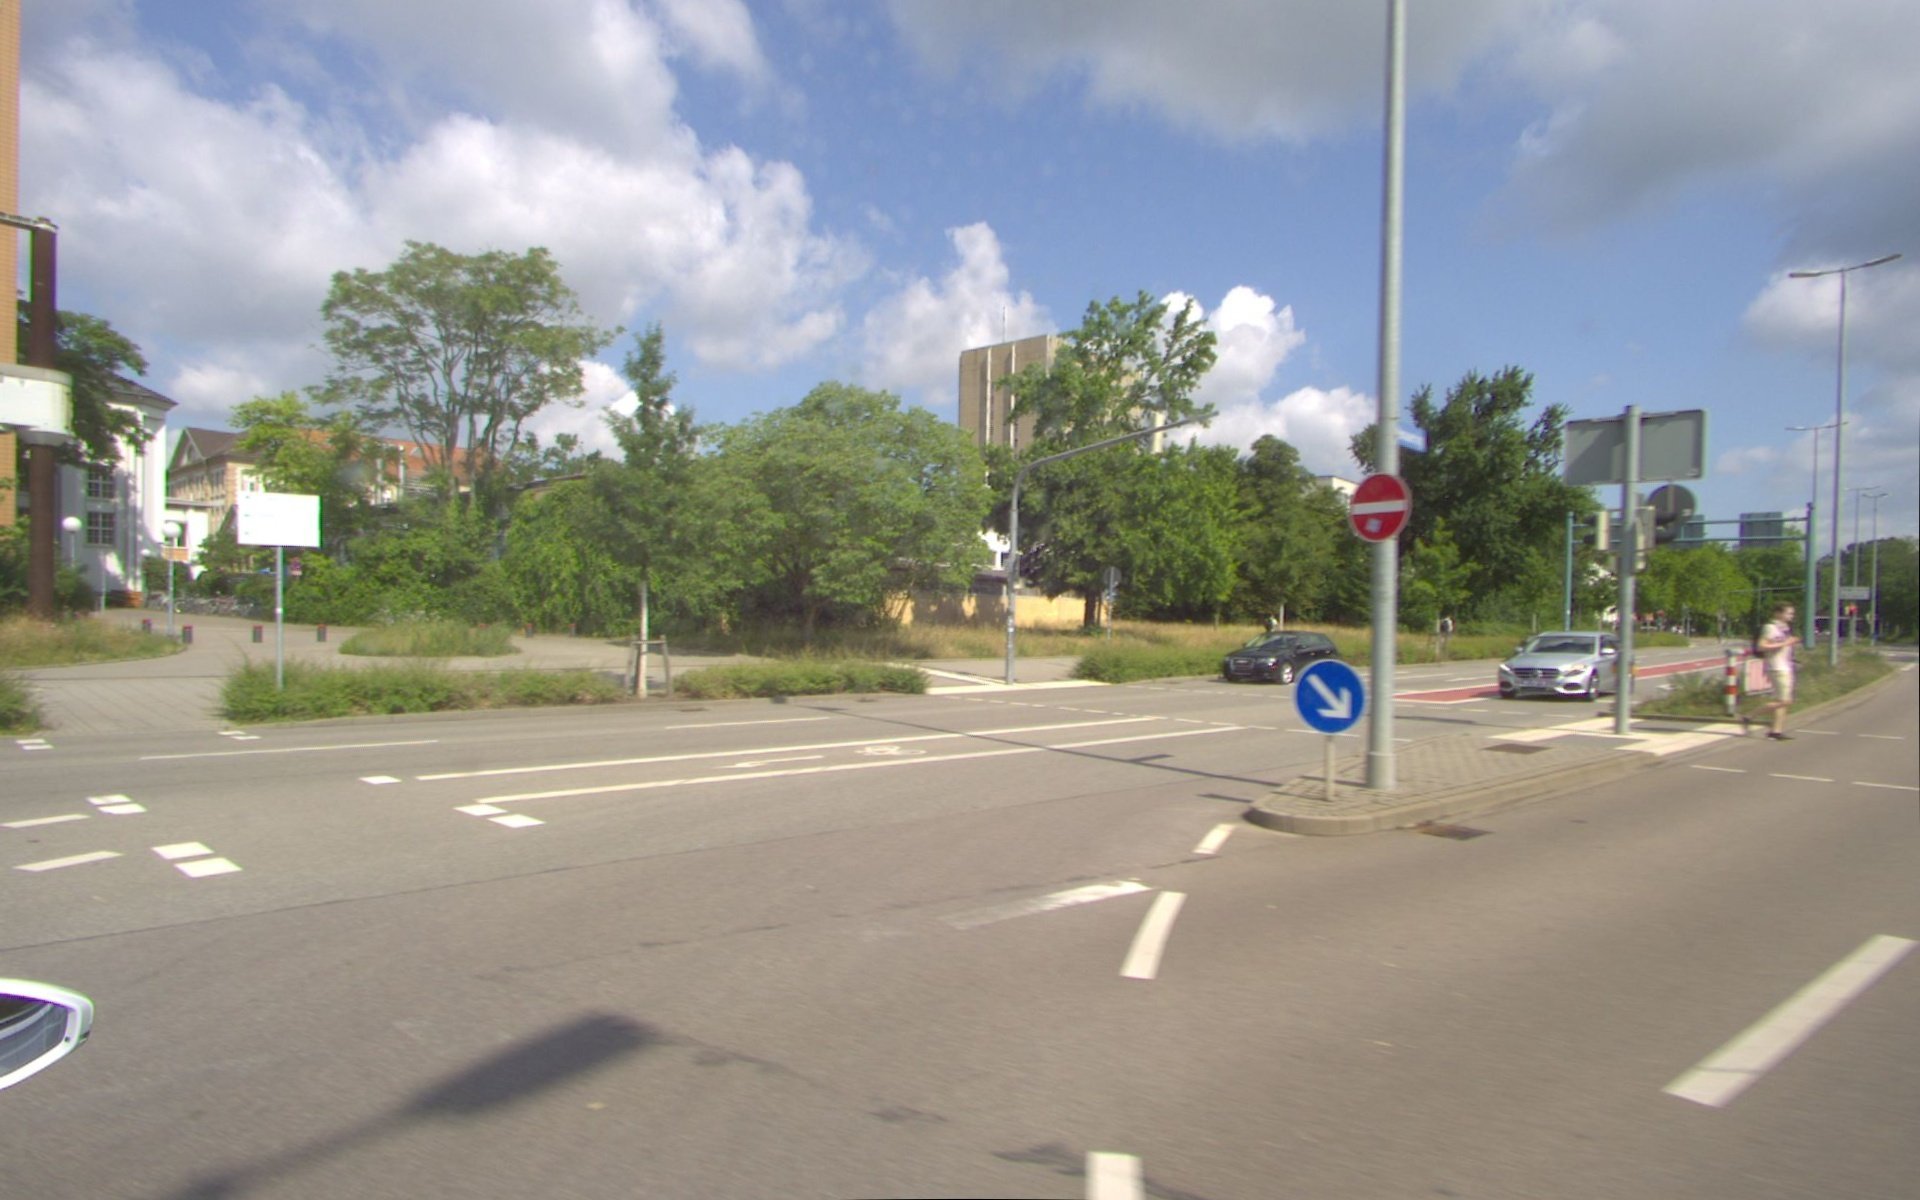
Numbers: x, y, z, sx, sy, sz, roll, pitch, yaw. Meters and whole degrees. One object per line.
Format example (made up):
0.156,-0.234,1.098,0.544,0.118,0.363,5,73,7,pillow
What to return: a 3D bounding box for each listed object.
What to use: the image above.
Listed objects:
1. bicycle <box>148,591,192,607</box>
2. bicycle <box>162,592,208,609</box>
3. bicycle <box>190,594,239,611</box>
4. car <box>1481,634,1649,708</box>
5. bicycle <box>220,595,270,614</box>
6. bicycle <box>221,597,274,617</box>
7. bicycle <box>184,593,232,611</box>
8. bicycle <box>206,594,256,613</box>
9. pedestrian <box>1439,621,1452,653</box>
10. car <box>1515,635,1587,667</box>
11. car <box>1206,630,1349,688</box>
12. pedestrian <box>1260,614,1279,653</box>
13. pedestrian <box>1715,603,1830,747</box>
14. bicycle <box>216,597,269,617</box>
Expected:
-48.990,-0.048,62.128,0.795,0.949,2.045,1,0,41,bicycle
-45.506,0.031,58.818,0.795,0.949,2.045,1,0,41,bicycle
-41.693,0.142,56.015,0.795,0.949,2.045,1,0,41,bicycle
13.608,1.492,22.387,4.733,1.460,2.043,2,-2,-43,car
-37.934,0.249,53.131,0.795,0.949,2.045,1,0,41,bicycle
-35.377,0.339,49.734,0.795,0.949,2.045,1,0,41,bicycle
-42.518,0.118,56.618,0.795,0.949,2.045,1,0,41,bicycle
-39.130,0.207,53.784,0.795,0.949,2.045,1,0,41,bicycle
27.956,2.134,57.666,0.535,1.791,0.521,2,-1,39,pedestrian
26.610,2.269,45.062,3.961,1.289,1.780,1,0,-44,car
8.801,1.565,27.615,4.120,1.395,1.980,2,1,-43,car
13.163,1.426,42.597,0.535,1.628,0.521,2,-1,39,pedestrian
11.119,0.999,13.747,1.165,1.881,0.695,1,-2,37,pedestrian
-36.443,0.353,50.878,0.795,0.949,2.045,1,0,41,bicycle
